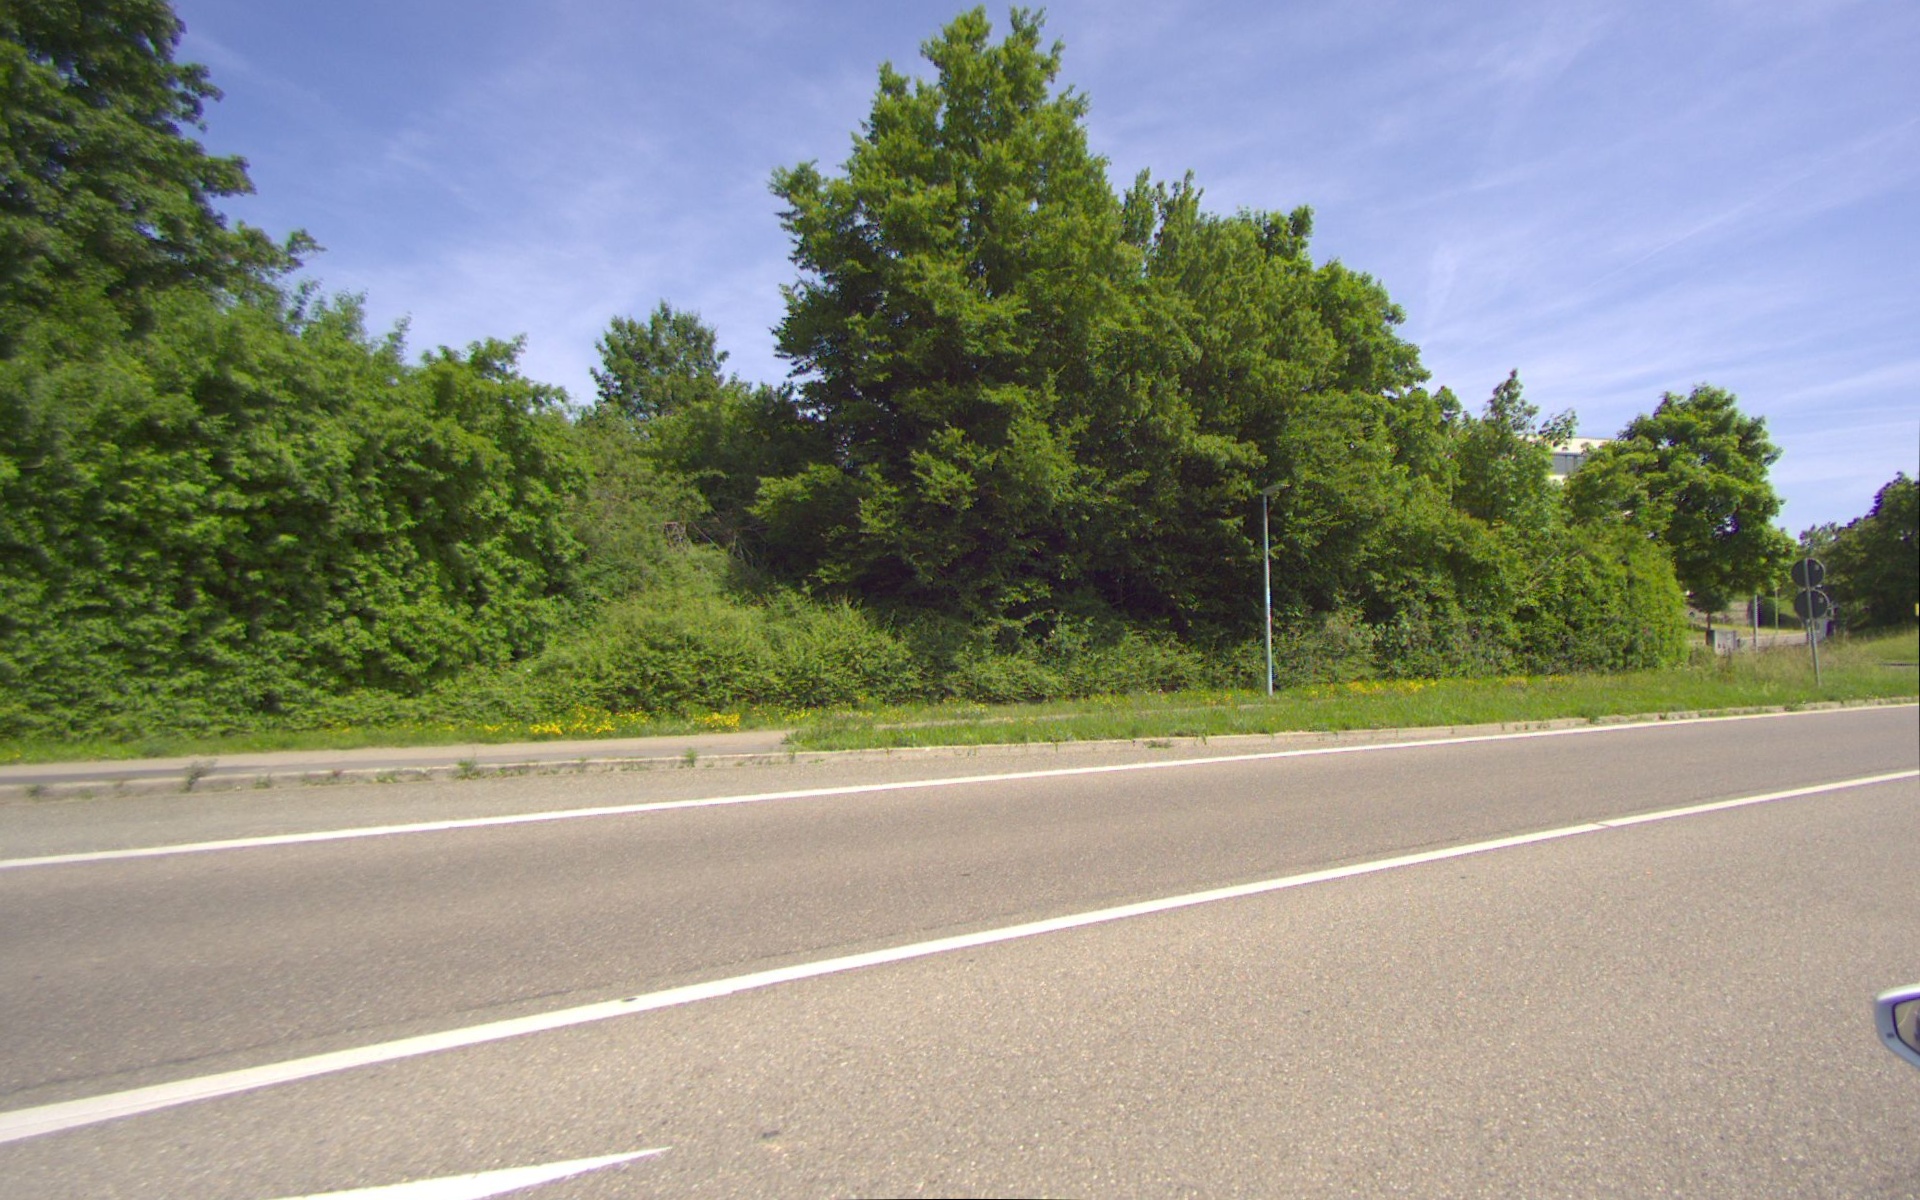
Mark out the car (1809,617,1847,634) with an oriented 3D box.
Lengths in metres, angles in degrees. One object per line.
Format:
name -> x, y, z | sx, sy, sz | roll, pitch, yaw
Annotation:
car -> 82.421, 2.426, 95.376 | 3.965, 1.572, 1.978 | 2, -1, -38
